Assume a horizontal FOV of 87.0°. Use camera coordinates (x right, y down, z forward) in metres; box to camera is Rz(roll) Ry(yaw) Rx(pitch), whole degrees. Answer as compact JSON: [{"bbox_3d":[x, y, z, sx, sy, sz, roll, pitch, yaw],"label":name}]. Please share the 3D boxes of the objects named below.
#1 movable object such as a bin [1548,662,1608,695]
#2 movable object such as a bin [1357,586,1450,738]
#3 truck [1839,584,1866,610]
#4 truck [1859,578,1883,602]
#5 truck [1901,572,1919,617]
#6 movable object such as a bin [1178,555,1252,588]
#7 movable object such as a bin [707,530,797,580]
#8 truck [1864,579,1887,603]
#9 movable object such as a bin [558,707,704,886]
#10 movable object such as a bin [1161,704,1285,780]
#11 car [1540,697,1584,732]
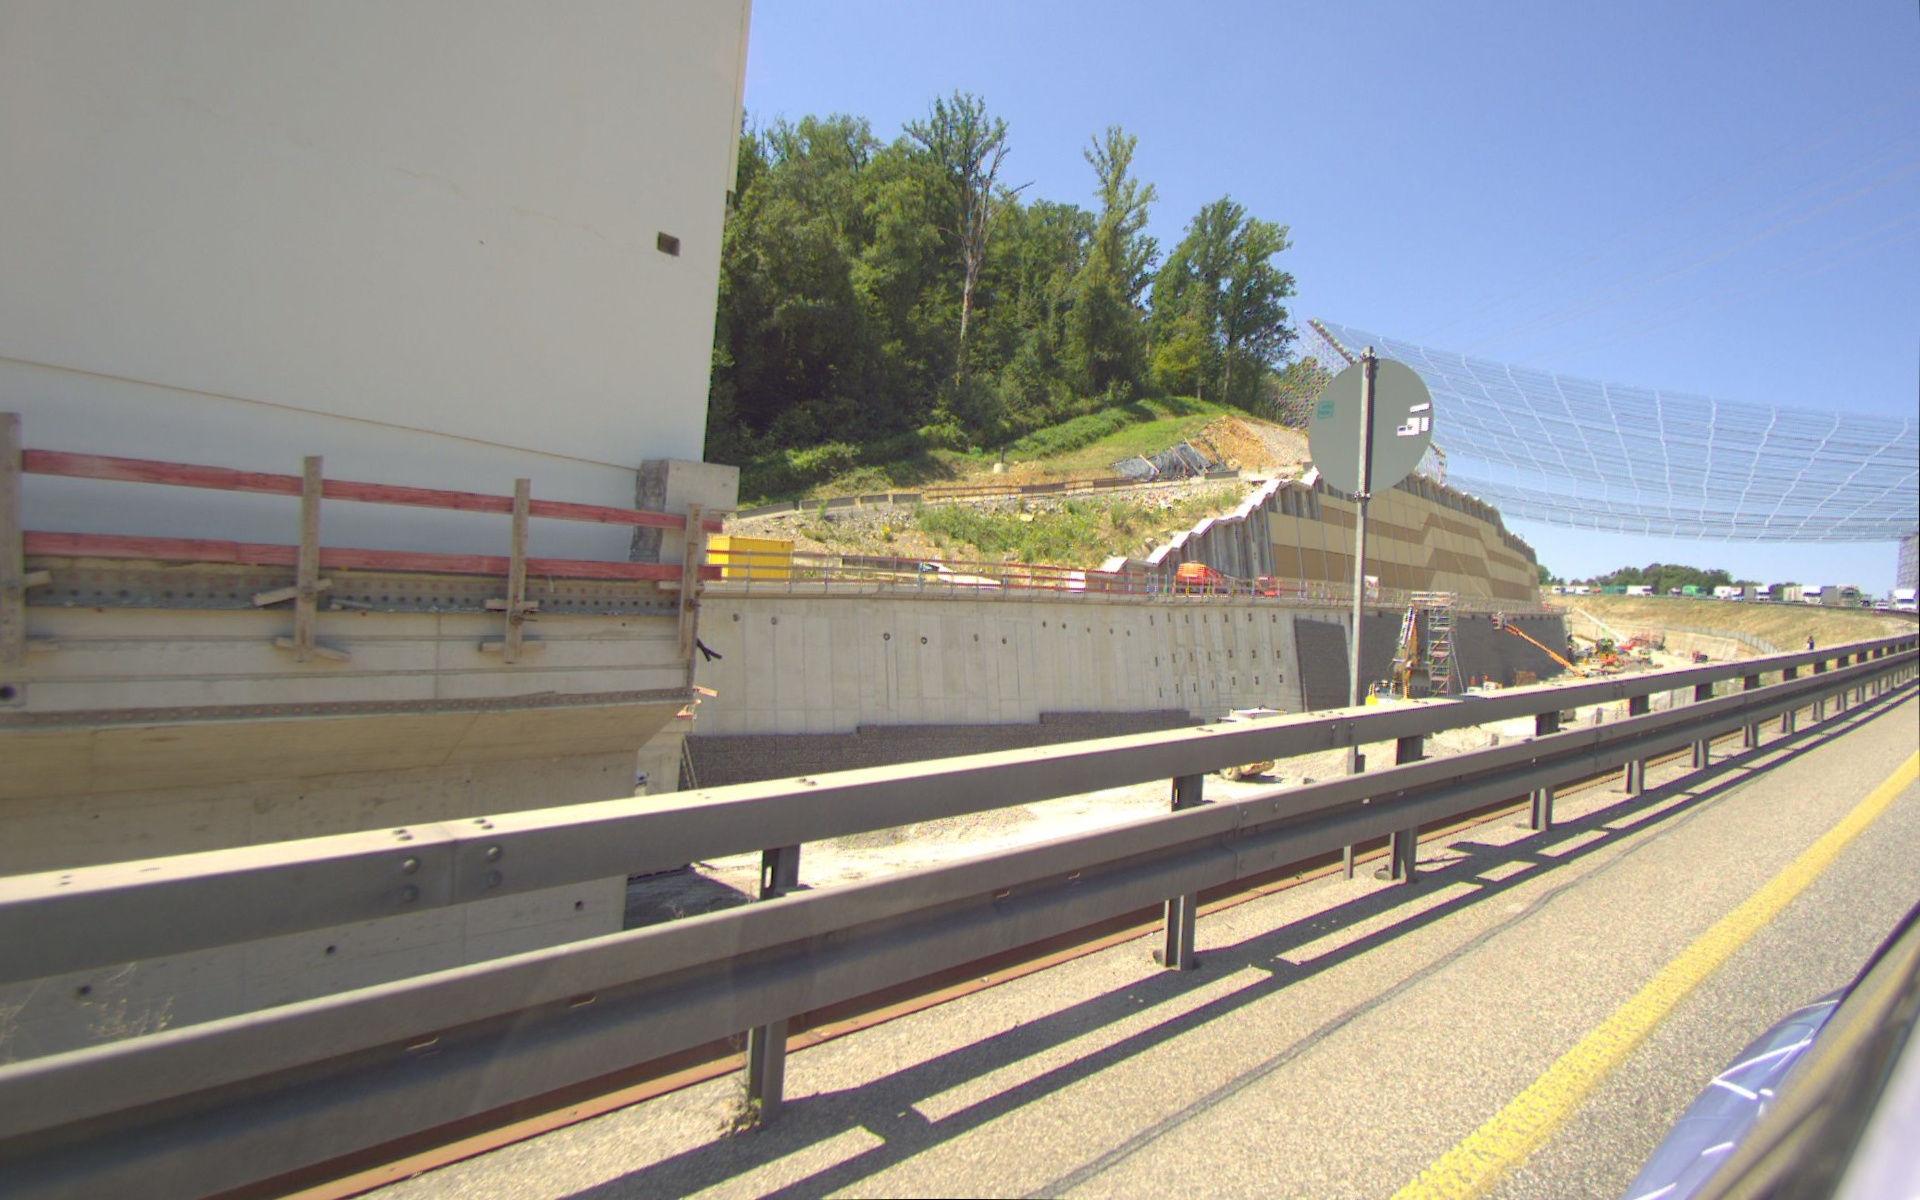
[{"bbox_3d":[60.192,7.621,98.710,2.176,2.669,5.505,0,0,-4],"label":"movable object such as a bin"},{"bbox_3d":[23.276,3.009,52.923,2.920,7.445,6.152,-1,0,39],"label":"movable object such as a bin"},{"bbox_3d":[147.902,-0.560,167.692,3.032,4.107,8.541,0,0,43],"label":"truck"},{"bbox_3d":[161.592,-1.731,179.455,2.976,4.217,8.801,0,0,44],"label":"truck"},{"bbox_3d":[106.708,-0.619,112.452,3.033,4.866,8.803,0,0,43],"label":"truck"},{"bbox_3d":[16.565,-1.788,65.581,5.263,2.039,2.078,-1,0,-42],"label":"movable object such as a bin"},{"bbox_3d":[-8.913,-1.874,43.319,3.111,1.940,2.333,1,-1,-34],"label":"movable object such as a bin"},{"bbox_3d":[168.666,-1.686,186.560,3.031,4.314,8.808,0,0,41],"label":"truck"},{"bbox_3d":[-8.307,4.803,25.582,2.776,3.869,2.329,2,-1,-41],"label":"movable object such as a bin"},{"bbox_3d":[11.502,6.167,44.618,2.022,2.625,5.116,1,-1,-39],"label":"movable object such as a bin"},{"bbox_3d":[44.476,8.426,74.735,1.992,2.039,3.939,0,0,42],"label":"car"}]
